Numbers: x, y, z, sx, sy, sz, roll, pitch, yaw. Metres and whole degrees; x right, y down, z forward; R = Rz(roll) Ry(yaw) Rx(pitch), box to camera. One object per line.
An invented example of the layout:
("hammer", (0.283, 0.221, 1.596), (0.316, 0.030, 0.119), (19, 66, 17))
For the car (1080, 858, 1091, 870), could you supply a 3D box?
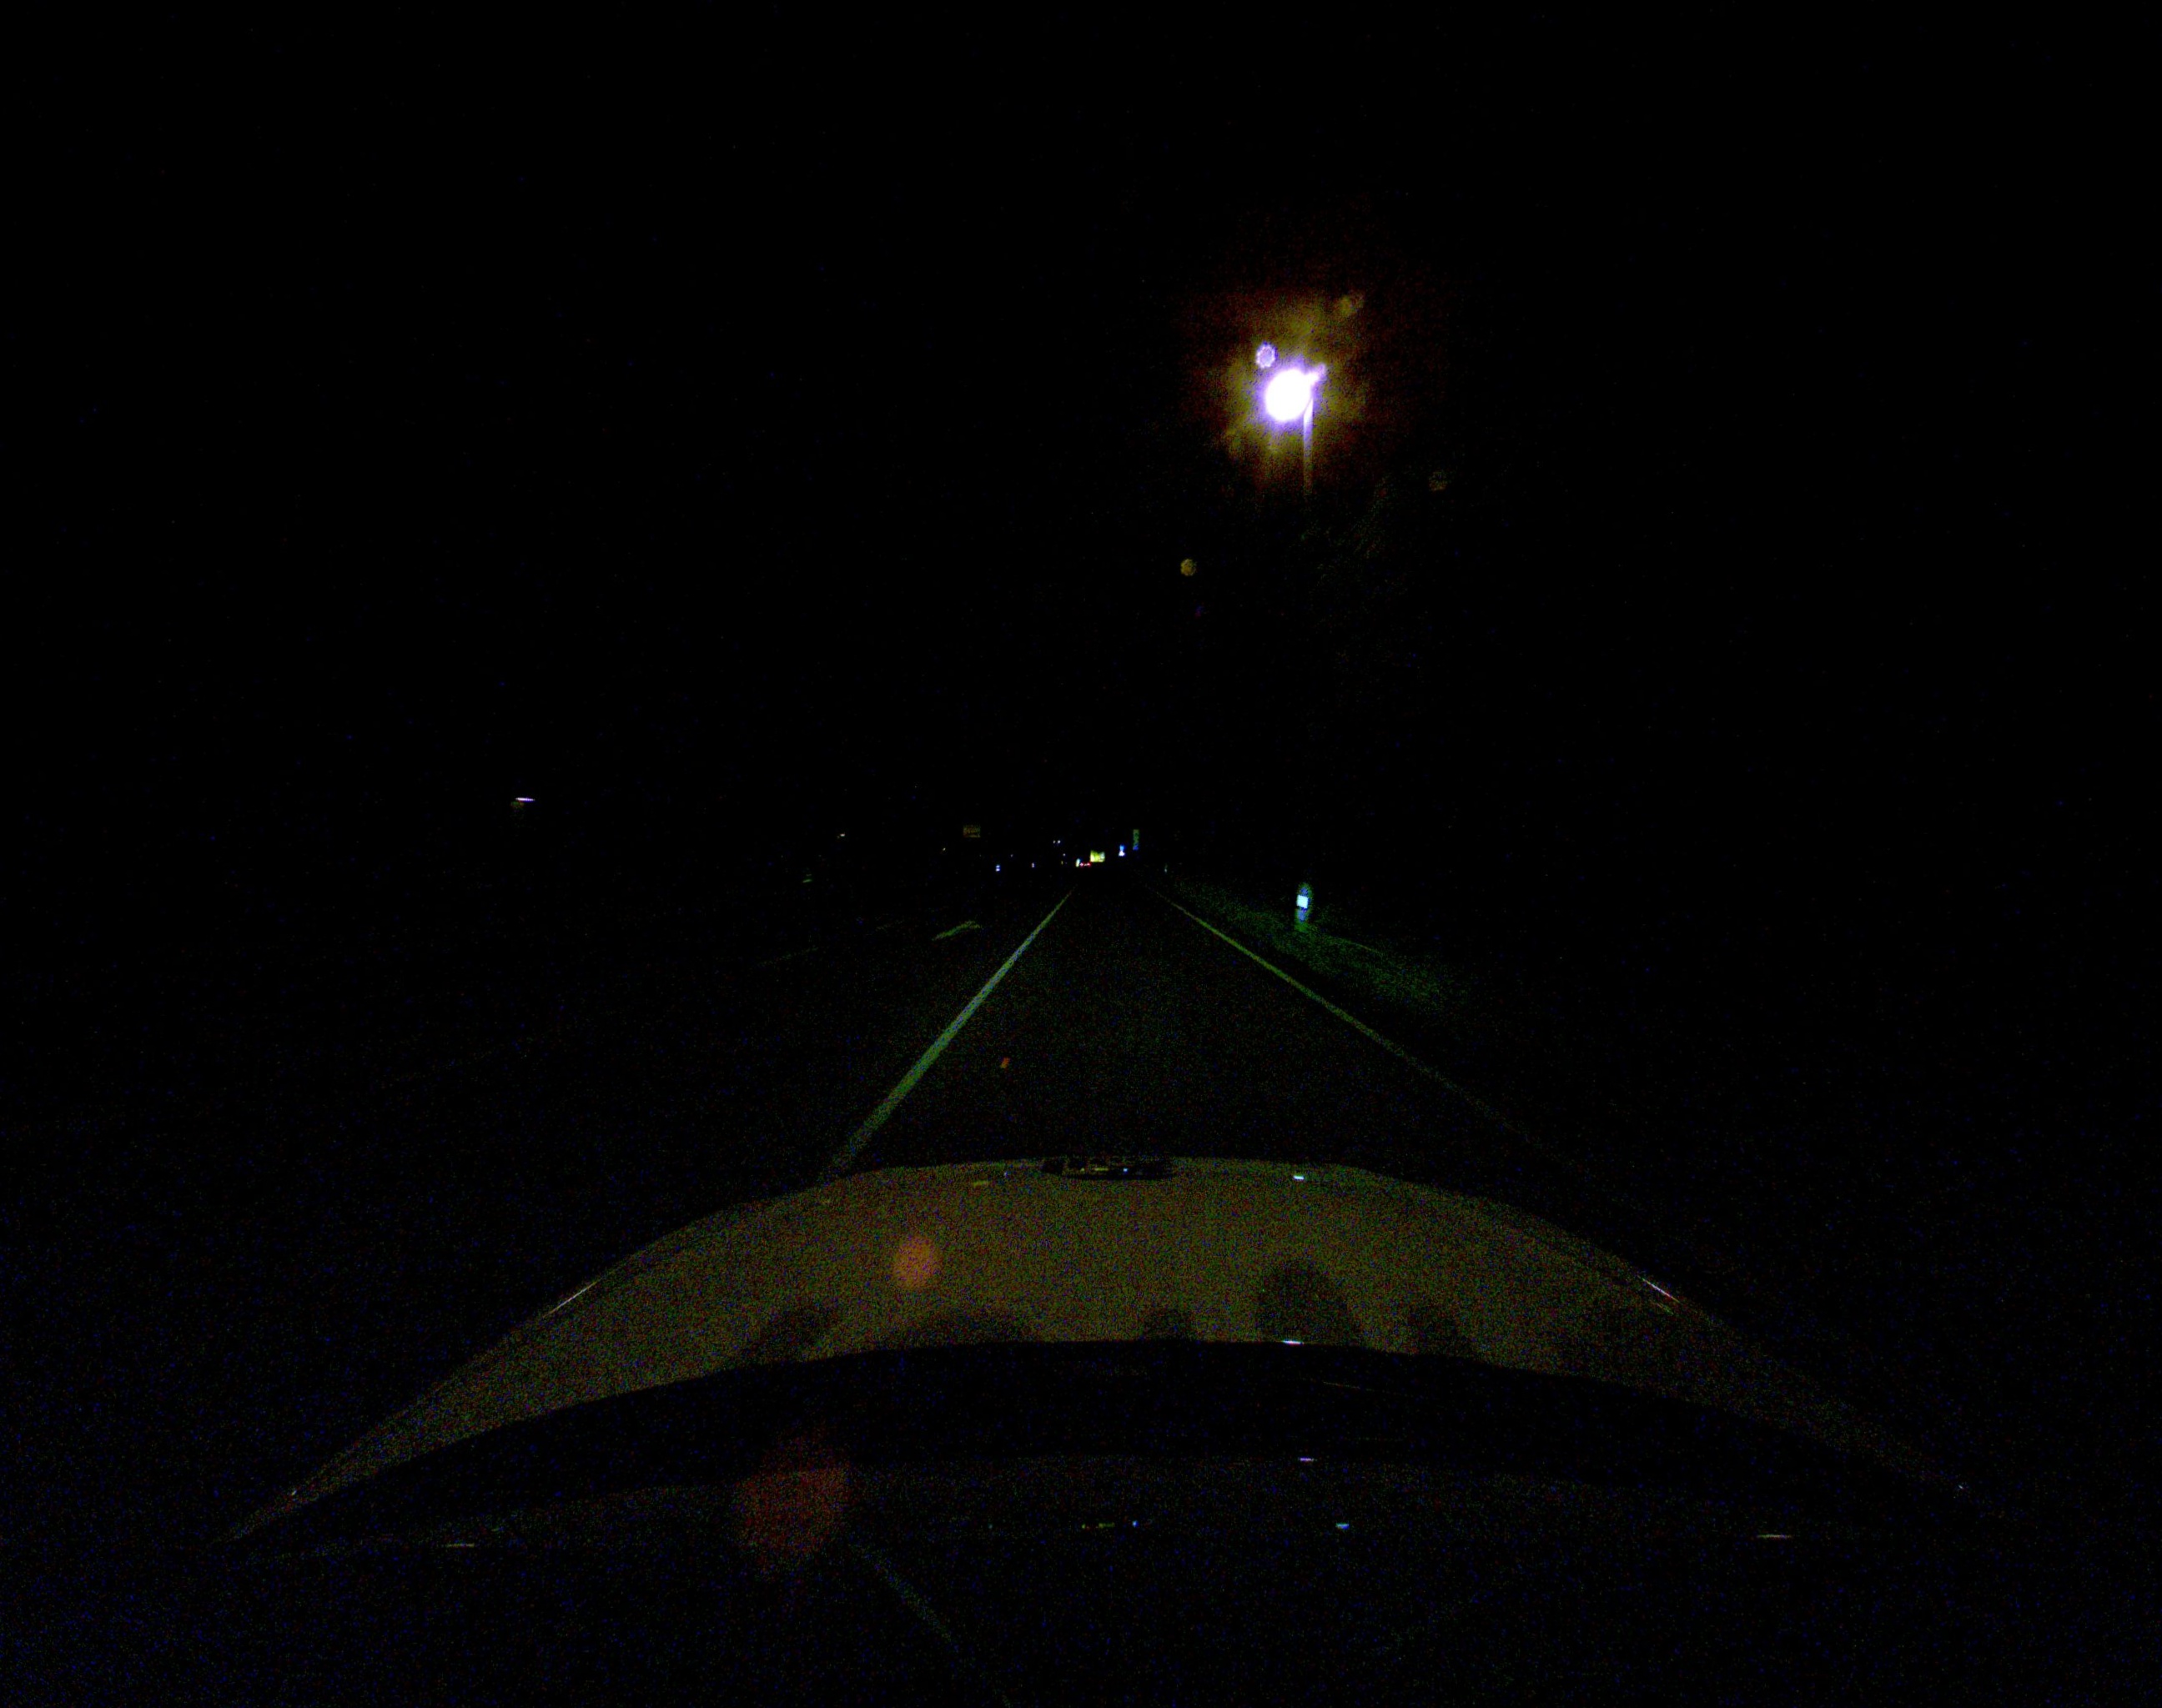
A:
("car", (0.932, 1.900, 157.698), (1.988, 2.014, 3.997), (2, -3, -1))
